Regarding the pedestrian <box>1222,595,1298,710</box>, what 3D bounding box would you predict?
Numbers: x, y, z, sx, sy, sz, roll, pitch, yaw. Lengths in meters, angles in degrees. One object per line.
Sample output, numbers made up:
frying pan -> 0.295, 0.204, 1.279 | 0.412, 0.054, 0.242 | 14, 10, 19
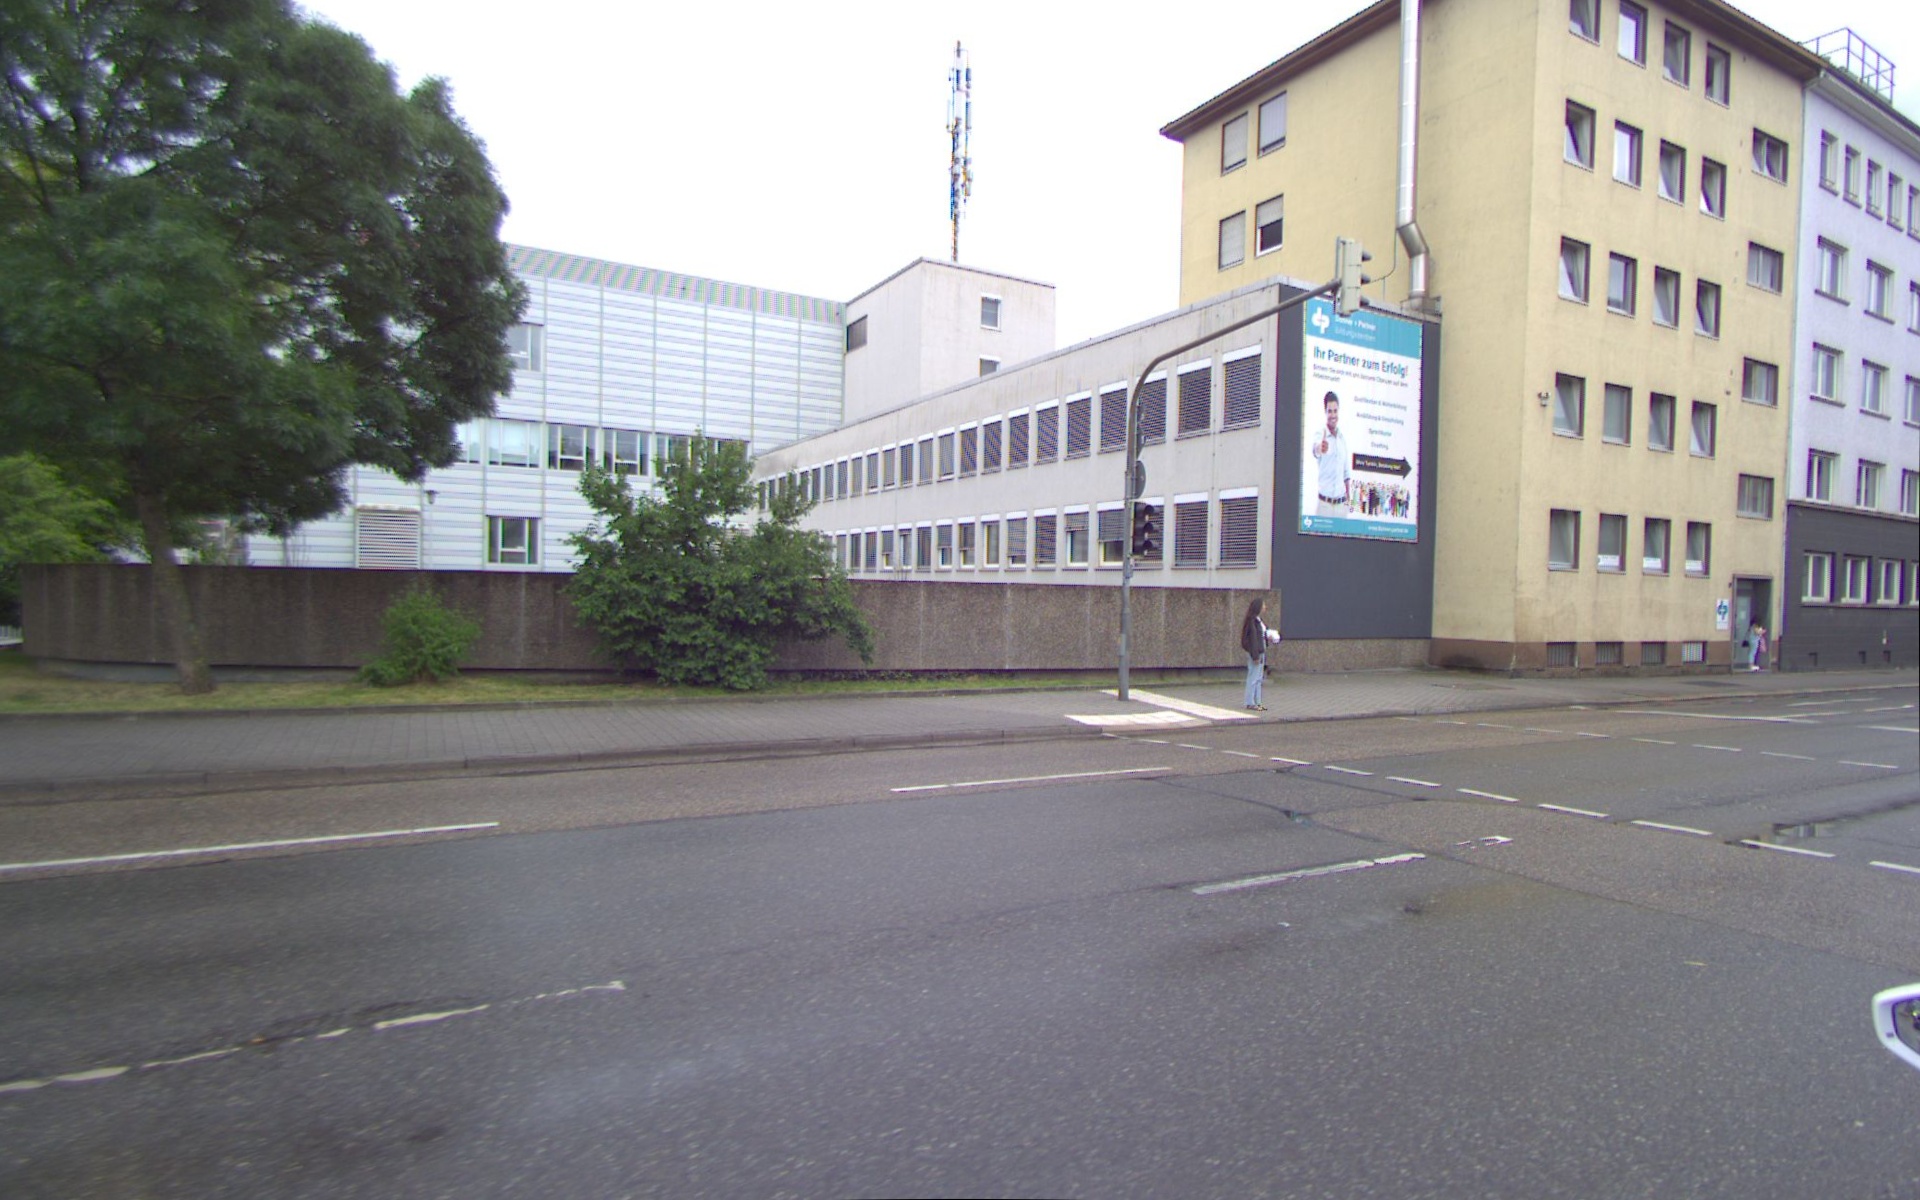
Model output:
pedestrian -> 4.686, 0.801, 15.708 | 0.801, 1.712, 0.714 | 1, 2, -28

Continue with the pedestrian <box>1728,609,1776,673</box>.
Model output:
pedestrian -> 22.087, 1.143, 28.025 | 0.801, 1.712, 0.714 | 1, 2, -28
